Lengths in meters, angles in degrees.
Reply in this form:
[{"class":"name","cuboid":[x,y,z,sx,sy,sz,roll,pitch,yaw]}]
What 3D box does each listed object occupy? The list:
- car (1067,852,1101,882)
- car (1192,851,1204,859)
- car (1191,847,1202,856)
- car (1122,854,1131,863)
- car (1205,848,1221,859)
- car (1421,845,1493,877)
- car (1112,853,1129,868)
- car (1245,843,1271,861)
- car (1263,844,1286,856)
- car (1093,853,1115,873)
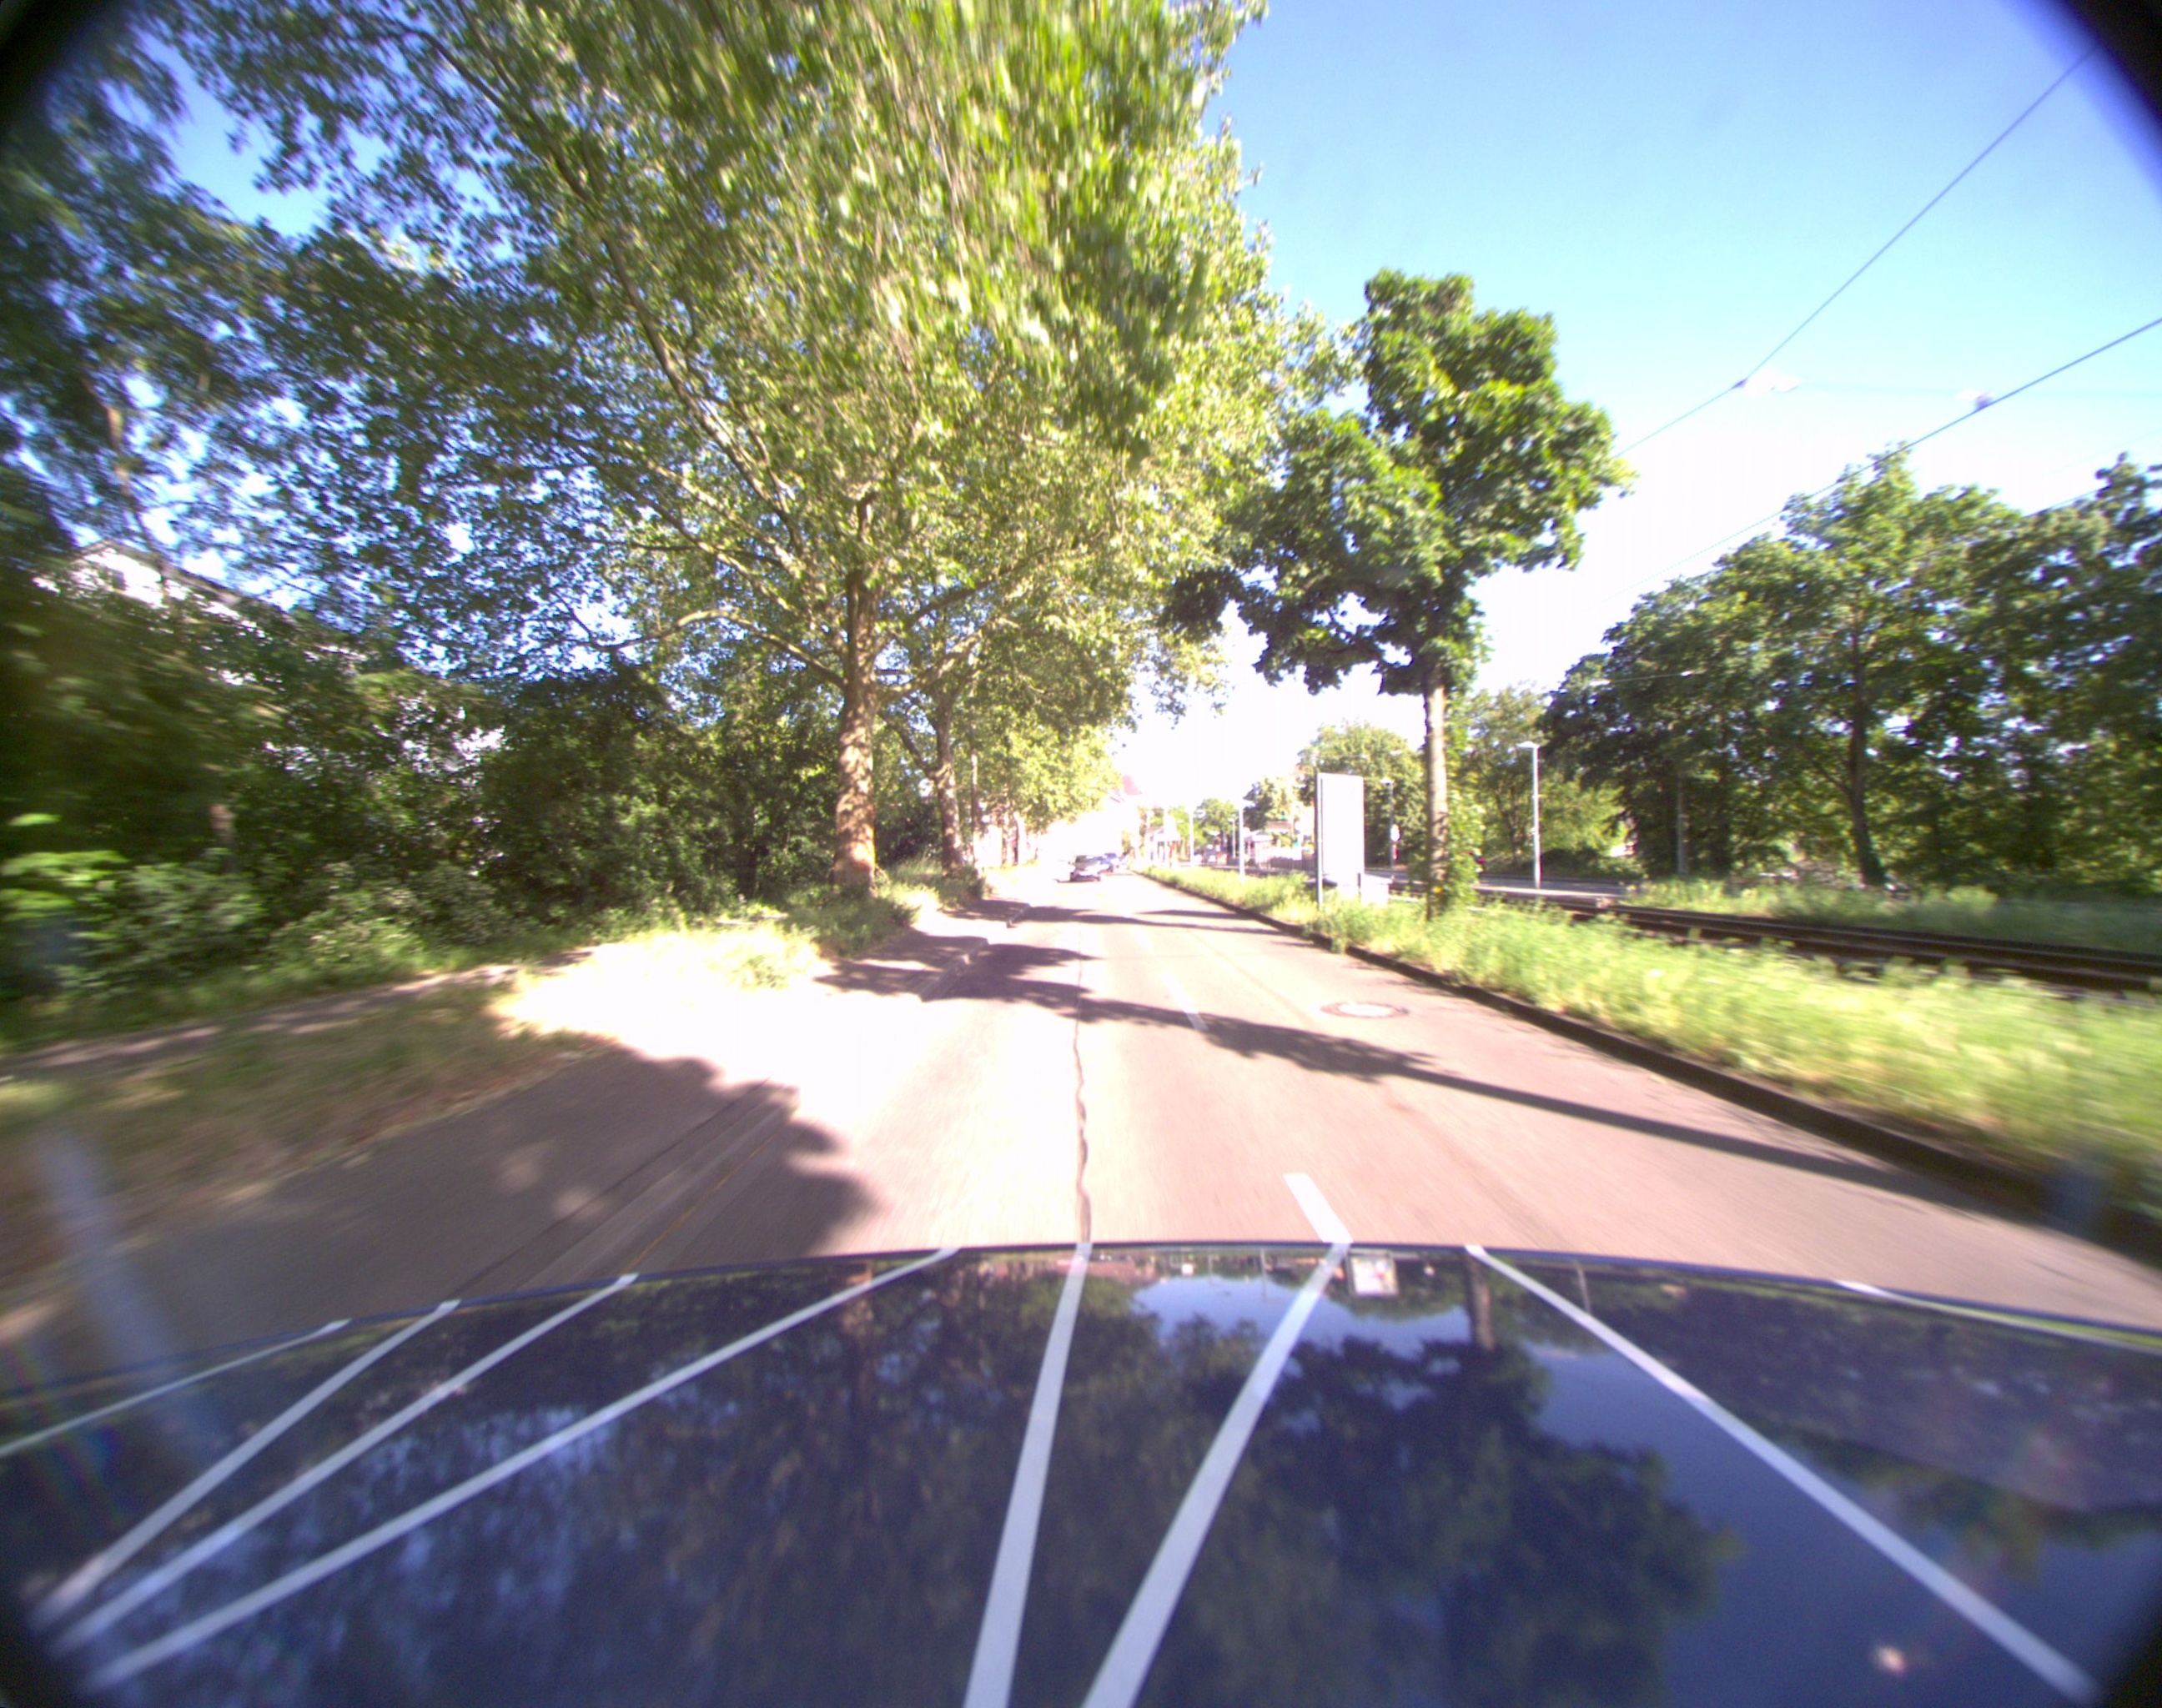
[{"class":"car","cuboid":[0.165,0.722,44.055,1.808,1.478,3.546,-3,1,0]},{"class":"car","cuboid":[20.924,0.163,135.958,1.852,1.371,3.442,-3,1,11]},{"class":"car","cuboid":[23.193,-0.525,153.050,1.853,1.478,3.547,-3,1,6]},{"class":"car","cuboid":[7.338,0.702,122.046,1.405,1.205,3.240,-3,1,5]},{"class":"car","cuboid":[18.921,-0.088,108.966,1.613,1.548,3.673,-3,1,1]},{"class":"car","cuboid":[19.508,0.315,39.643,1.640,1.486,4.592,0,1,2]},{"class":"car","cuboid":[4.101,0.660,79.776,1.590,1.478,3.546,-3,1,2]},{"class":"car","cuboid":[16.946,-0.180,72.853,1.613,1.548,3.673,-3,1,1]},{"class":"car","cuboid":[20.147,-0.435,79.240,1.493,1.112,3.676,-3,1,1]},{"class":"car","cuboid":[1.930,0.702,63.459,1.714,1.478,3.546,-3,1,2]}]
